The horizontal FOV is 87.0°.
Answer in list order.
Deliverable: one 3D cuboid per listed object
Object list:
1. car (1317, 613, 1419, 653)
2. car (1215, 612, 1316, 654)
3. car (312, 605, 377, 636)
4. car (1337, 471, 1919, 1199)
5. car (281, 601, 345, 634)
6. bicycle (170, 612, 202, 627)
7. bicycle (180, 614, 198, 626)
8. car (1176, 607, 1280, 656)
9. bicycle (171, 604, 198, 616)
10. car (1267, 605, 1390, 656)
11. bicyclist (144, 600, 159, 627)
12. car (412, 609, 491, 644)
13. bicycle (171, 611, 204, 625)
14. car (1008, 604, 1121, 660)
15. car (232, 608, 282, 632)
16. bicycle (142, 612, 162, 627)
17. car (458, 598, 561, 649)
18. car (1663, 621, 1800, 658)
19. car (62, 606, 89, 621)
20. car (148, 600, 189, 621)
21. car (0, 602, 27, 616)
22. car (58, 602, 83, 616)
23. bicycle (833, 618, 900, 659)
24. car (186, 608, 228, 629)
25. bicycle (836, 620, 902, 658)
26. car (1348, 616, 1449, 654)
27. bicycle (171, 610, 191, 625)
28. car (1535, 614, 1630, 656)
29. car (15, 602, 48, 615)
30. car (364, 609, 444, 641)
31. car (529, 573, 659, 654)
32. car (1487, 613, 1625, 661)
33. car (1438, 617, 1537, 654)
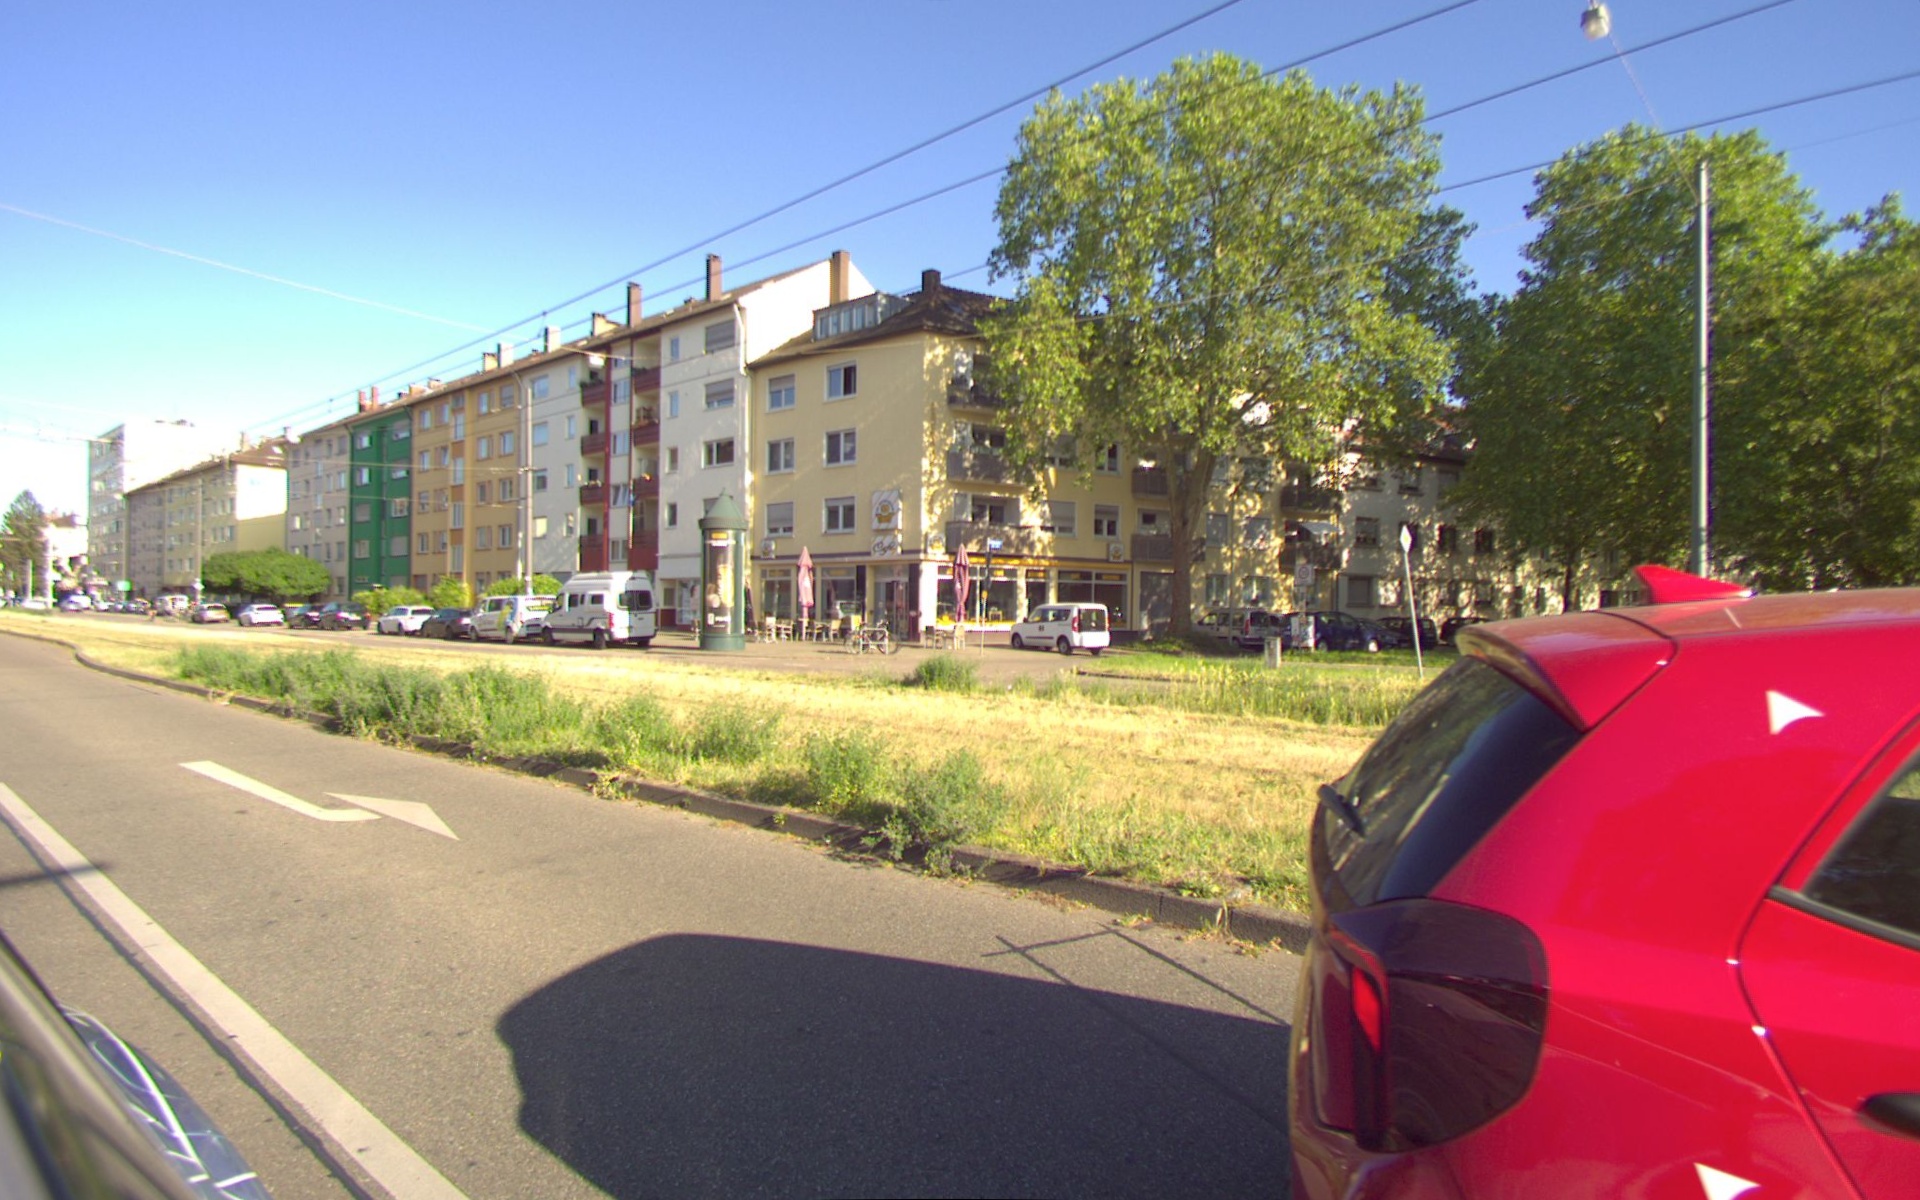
[{"bbox_3d":[18.455,1.488,45.942,1.850,1.626,4.013,3,-1,-29],"label":"car"},{"bbox_3d":[13.527,1.450,45.009,1.966,1.677,4.074,2,-1,-29],"label":"car"},{"bbox_3d":[-34.907,1.132,57.368,4.149,1.619,1.973,0,2,41],"label":"car"},{"bbox_3d":[2.404,0.621,1.169,3.672,1.519,1.688,-1,1,21],"label":"car"},{"bbox_3d":[-38.771,1.014,60.604,4.607,1.851,1.973,0,1,41],"label":"car"},{"bbox_3d":[-63.990,1.617,83.706,2.024,1.101,0.616,-2,2,-43],"label":"bicycle"},{"bbox_3d":[-60.989,1.584,80.051,2.046,0.872,0.374,-1,1,30],"label":"bicycle"},{"bbox_3d":[11.260,1.288,42.751,1.966,1.857,4.013,3,-1,-29],"label":"car"},{"bbox_3d":[-77.150,0.984,100.705,0.472,1.114,2.076,0,1,41],"label":"bicycle"},{"bbox_3d":[12.387,1.010,33.978,3.931,1.613,1.755,1,-1,-31],"label":"car"},{"bbox_3d":[-62.219,1.037,77.874,0.648,2.029,0.765,0,1,41],"label":"bicyclist"},{"bbox_3d":[-23.765,1.200,47.249,4.321,1.526,1.678,0,0,38],"label":"car"},{"bbox_3d":[-62.449,1.457,81.818,2.024,1.101,0.616,-2,2,-43],"label":"bicycle"},{"bbox_3d":[3.798,1.118,37.371,1.967,1.840,4.010,-2,1,-35],"label":"car"},{"bbox_3d":[-46.829,1.310,67.395,4.374,1.465,1.711,0,0,41],"label":"car"},{"bbox_3d":[-62.103,1.486,77.768,2.473,1.155,0.760,0,-3,41],"label":"bicycle"},{"bbox_3d":[-19.414,0.959,43.496,5.369,2.036,2.011,0,1,42],"label":"car"},{"bbox_3d":[30.466,1.530,40.087,1.559,1.392,4.011,1,-1,-33],"label":"car"},{"bbox_3d":[-120.141,1.790,137.490,4.665,1.912,1.974,0,1,39],"label":"car"},{"bbox_3d":[-80.691,1.039,103.181,5.493,1.964,1.975,0,1,38],"label":"car"},{"bbox_3d":[-112.824,1.062,120.378,4.406,1.540,1.767,0,-2,36],"label":"car"},{"bbox_3d":[-102.354,1.045,116.452,4.216,1.459,1.676,0,-2,42],"label":"car"},{"bbox_3d":[-2.994,1.236,32.386,2.065,1.261,0.518,0,1,7],"label":"bicycle"},{"bbox_3d":[-56.577,1.380,76.046,3.730,1.453,1.620,0,1,39],"label":"car"},{"bbox_3d":[-2.961,1.261,32.936,2.065,1.193,0.518,1,1,7],"label":"bicycle"},{"bbox_3d":[20.577,1.623,47.635,1.850,1.626,4.013,3,-1,-29],"label":"car"},{"bbox_3d":[-61.252,1.378,79.561,1.928,1.101,0.506,-1,1,30],"label":"bicycle"},{"bbox_3d":[26.121,1.459,42.480,3.931,1.697,1.755,1,-1,-31],"label":"car"},{"bbox_3d":[-106.437,0.969,115.995,4.405,1.395,1.818,0,-2,35],"label":"car"},{"bbox_3d":[-28.001,1.212,50.938,4.698,1.503,1.874,0,1,39],"label":"car"},{"bbox_3d":[-14.185,0.474,38.952,6.226,2.890,2.010,0,0,42],"label":"car"},{"bbox_3d":[19.876,1.182,33.891,1.618,1.391,3.659,-2,1,-31],"label":"car"},{"bbox_3d":[27.036,1.801,52.018,1.966,1.677,4.074,2,-1,-29],"label":"car"}]
